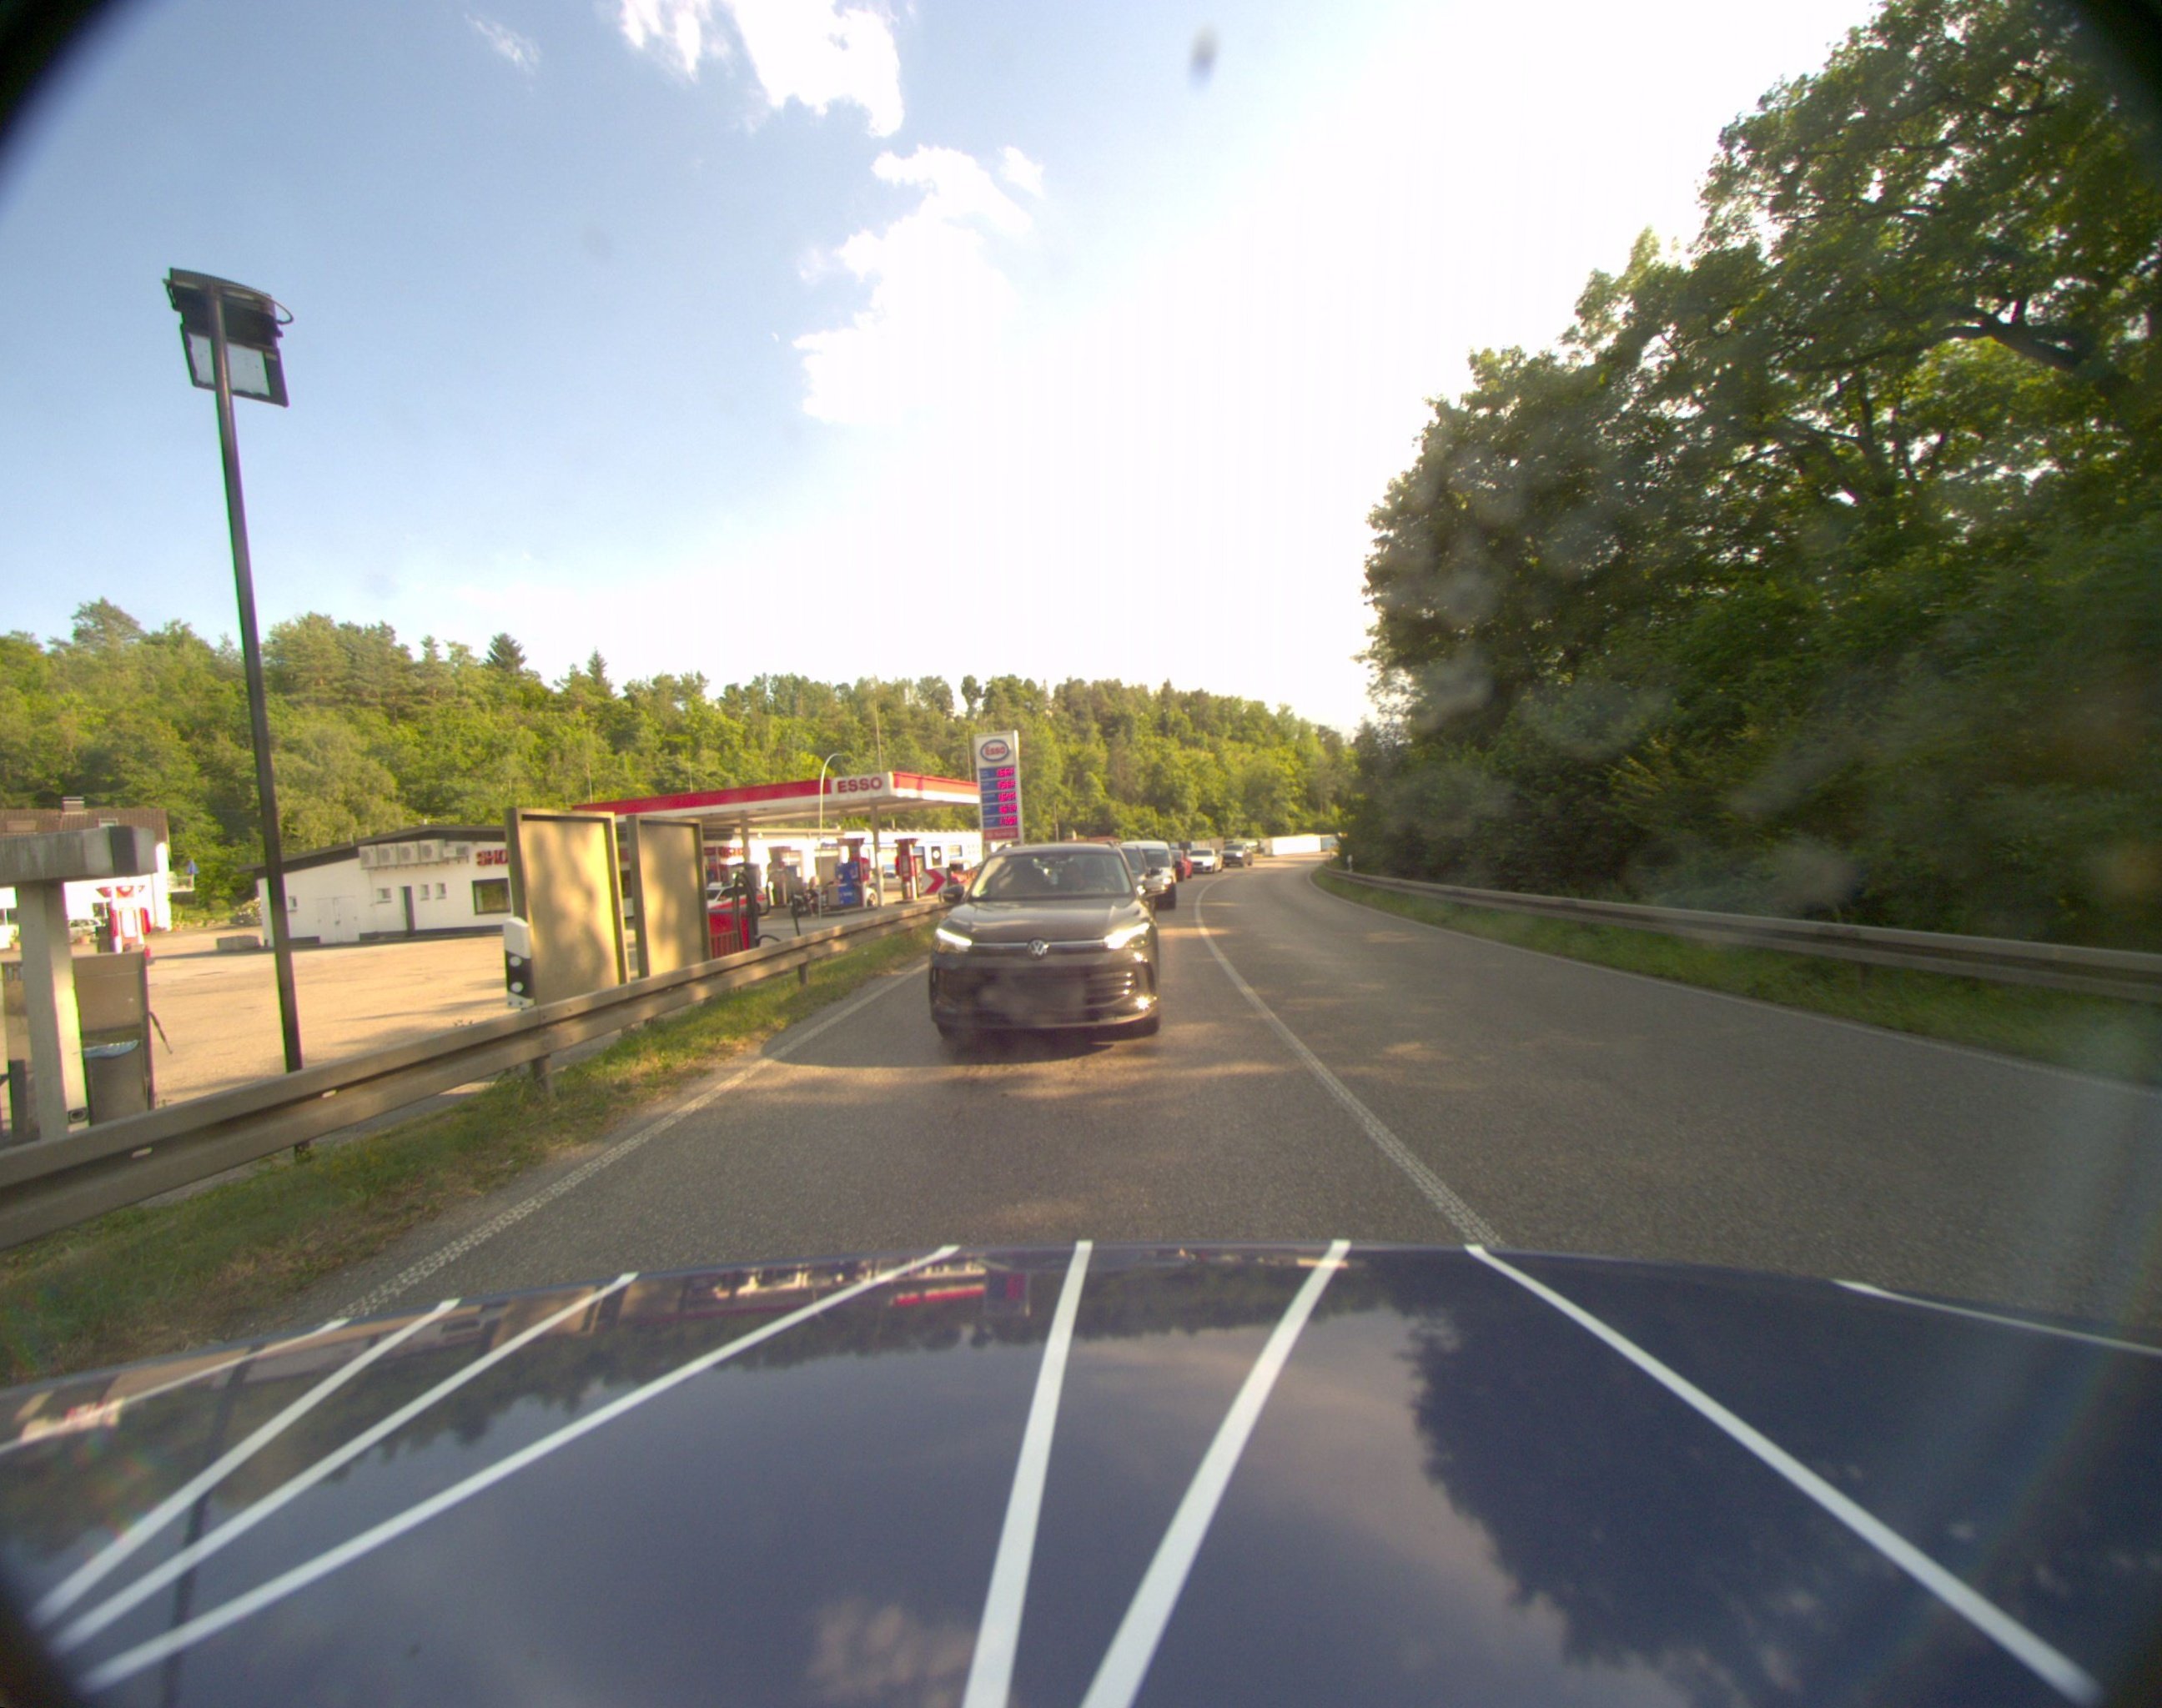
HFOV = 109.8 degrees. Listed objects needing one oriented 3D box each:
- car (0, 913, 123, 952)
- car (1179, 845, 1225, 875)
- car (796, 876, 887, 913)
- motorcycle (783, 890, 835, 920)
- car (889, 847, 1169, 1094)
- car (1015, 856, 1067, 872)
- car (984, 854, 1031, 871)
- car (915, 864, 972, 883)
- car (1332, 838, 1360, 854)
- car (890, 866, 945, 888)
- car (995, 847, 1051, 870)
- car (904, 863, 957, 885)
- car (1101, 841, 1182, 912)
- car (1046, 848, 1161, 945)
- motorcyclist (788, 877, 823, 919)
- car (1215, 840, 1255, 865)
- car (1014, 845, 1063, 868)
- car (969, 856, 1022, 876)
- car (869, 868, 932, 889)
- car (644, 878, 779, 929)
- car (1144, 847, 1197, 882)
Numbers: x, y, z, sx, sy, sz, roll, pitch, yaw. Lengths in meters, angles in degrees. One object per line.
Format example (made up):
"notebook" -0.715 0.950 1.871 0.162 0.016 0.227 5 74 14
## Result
"car" -65.025 4.958 48.143 2.694 1.826 5.175 -4 0 41
"car" 7.157 0.317 44.590 1.913 1.457 4.542 -4 0 18
"car" -10.922 1.807 34.960 1.845 1.311 4.394 -3 1 15
"motorcycle" -11.204 2.092 31.420 0.763 1.006 2.343 -3 1 14
"car" -0.190 0.787 7.389 1.859 1.630 4.442 -2 1 4
"car" -3.872 0.956 73.731 4.726 1.426 1.959 -1 1 13
"car" -7.406 0.868 76.685 4.246 1.601 1.896 -2 1 15
"car" -10.960 1.561 60.741 4.072 1.340 1.896 -1 1 15
"car" 26.723 -0.803 76.582 1.869 1.555 4.008 -2 -1 30
"car" -12.181 1.694 56.556 3.555 1.398 1.692 -3 1 15
"car" -6.186 0.430 81.287 5.481 2.261 2.297 -1 1 15
"car" -11.622 1.565 58.711 3.549 1.437 1.735 -3 1 15
"car" 1.795 0.548 20.956 1.866 1.710 4.766 -1 0 8
"car" 0.602 0.708 15.013 1.847 1.561 4.259 -2 1 7
"motorcyclist" -11.289 1.793 31.184 0.859 1.595 0.928 -3 1 14
"car" 11.131 -0.114 54.653 1.856 1.587 4.543 -2 1 24
"car" -4.715 0.253 84.845 4.915 2.435 2.209 -1 1 13
"car" -7.660 1.063 67.995 4.254 1.719 1.893 -1 1 12
"car" -12.821 1.749 54.067 3.963 1.347 1.778 -2 1 11
"car" -15.017 1.965 31.315 2.095 1.618 5.184 -3 1 14
"car" 4.325 0.471 36.194 1.857 1.412 4.423 -2 1 15
